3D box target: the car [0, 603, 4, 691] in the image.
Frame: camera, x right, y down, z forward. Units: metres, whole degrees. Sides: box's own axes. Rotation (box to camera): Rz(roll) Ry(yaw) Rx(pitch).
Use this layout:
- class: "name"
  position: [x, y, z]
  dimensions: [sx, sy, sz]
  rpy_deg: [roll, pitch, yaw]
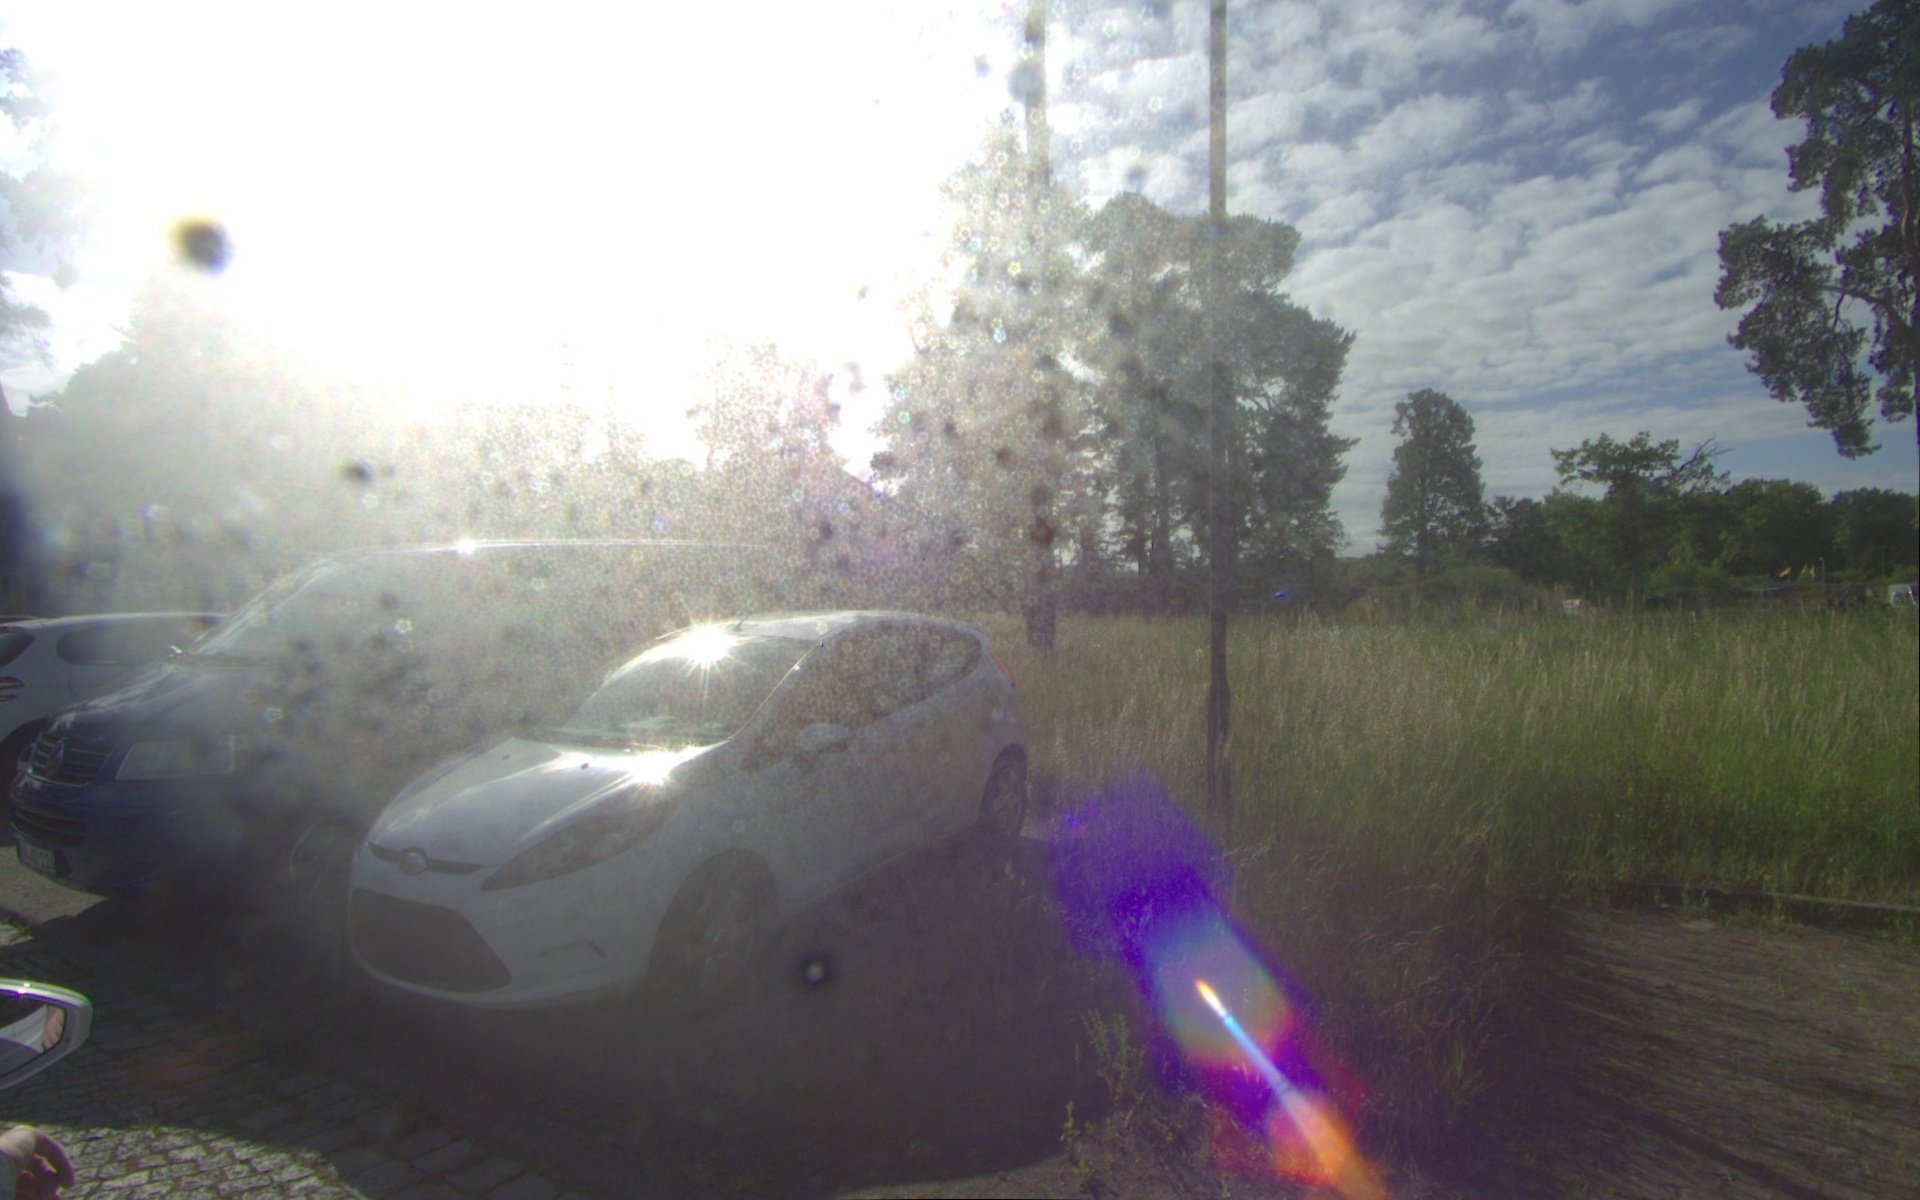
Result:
- class: "car"
  position: [-18.455, 0.839, 16.183]
  dimensions: [1.620, 1.550, 4.030]
  rpy_deg: [0, 0, 28]

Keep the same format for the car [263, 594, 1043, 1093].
- class: "car"
  position: [-1.087, 0.750, 5.116]
  dimensions: [1.620, 1.508, 3.713]
  rpy_deg: [0, 1, 29]

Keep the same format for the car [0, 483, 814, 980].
- class: "car"
  position: [-3.216, 0.535, 6.653]
  dimensions: [2.052, 2.040, 4.671]
  rpy_deg: [0, 0, 29]

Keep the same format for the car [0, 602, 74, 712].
- class: "car"
  position: [-14.701, 0.818, 13.748]
  dimensions: [1.621, 1.550, 3.472]
  rpy_deg: [0, 0, 30]

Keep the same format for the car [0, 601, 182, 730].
- class: "car"
  position: [-12.257, 0.806, 12.656]
  dimensions: [1.621, 1.550, 3.472]
  rpy_deg: [0, 0, 30]

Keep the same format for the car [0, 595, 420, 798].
- class: "car"
  position: [-7.444, 0.761, 9.558]
  dimensions: [1.622, 1.486, 3.684]
  rpy_deg: [0, 2, 32]

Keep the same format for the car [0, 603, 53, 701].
- class: "car"
  position: [-16.485, 0.828, 15.280]
  dimensions: [1.621, 1.550, 3.597]
  rpy_deg: [0, 0, 30]

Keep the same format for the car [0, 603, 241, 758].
- class: "car"
  position: [-10.122, 0.826, 10.638]
  dimensions: [1.621, 1.487, 3.668]
  rpy_deg: [0, 1, 30]

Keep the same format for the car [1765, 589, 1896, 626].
- class: "car"
  position: [55.017, 0.498, 63.401]
  dimensions: [2.348, 2.200, 5.968]
  rpy_deg: [-1, -1, -38]
